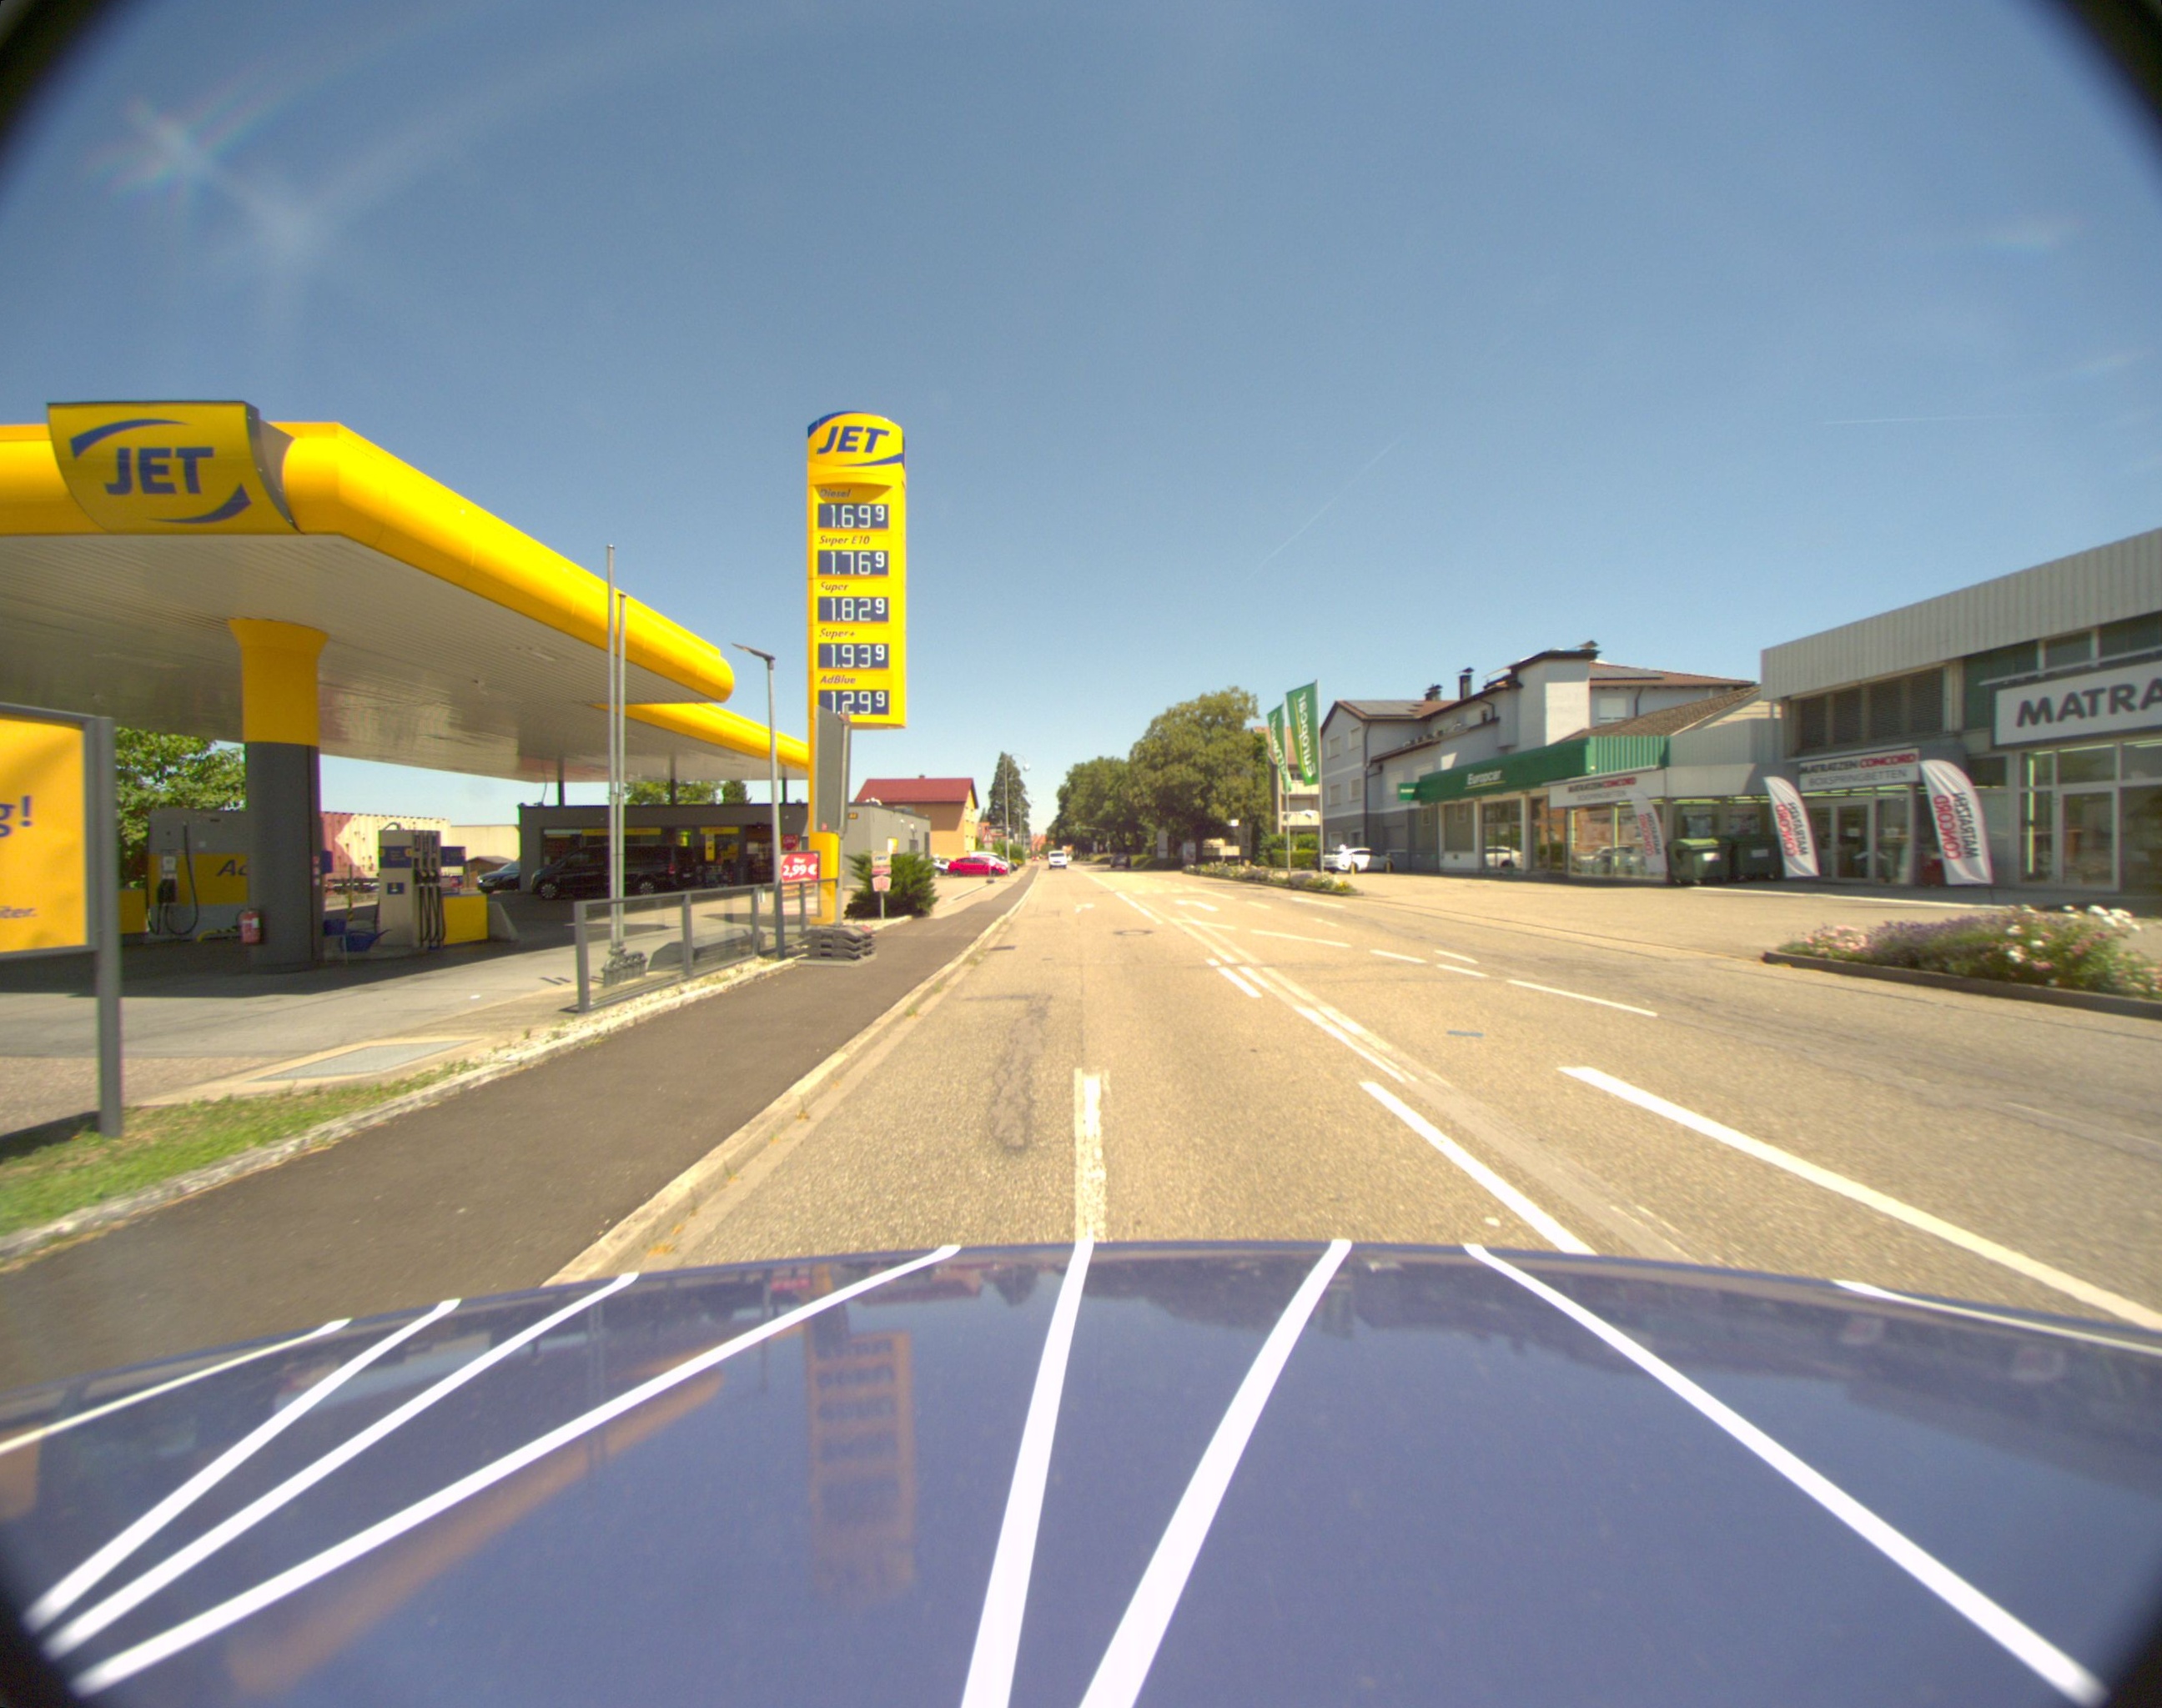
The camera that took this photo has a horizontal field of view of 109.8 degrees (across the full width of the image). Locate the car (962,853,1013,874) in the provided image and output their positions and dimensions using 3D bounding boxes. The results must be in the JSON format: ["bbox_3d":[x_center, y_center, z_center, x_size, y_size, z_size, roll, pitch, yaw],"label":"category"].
[{"bbox_3d":[-7.031,0.712,57.409,3.695,1.557,1.707,0,0,-5],"label":"car"}]

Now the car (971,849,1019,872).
[{"bbox_3d":[-7.726,0.552,68.401,4.147,1.927,1.807,-1,0,-8],"label":"car"}]

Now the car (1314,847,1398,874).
[{"bbox_3d":[15.814,0.356,43.675,4.360,1.430,1.936,-2,1,-24],"label":"car"}]

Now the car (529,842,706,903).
[{"bbox_3d":[-16.580,0.636,27.364,5.063,1.964,2.000,-1,1,0],"label":"car"}]

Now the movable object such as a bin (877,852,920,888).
[{"bbox_3d":[-7.558,0.650,31.591,1.438,1.429,1.467,0,0,-1],"label":"movable object such as a bin"}]

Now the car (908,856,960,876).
[{"bbox_3d":[-11.938,0.967,61.909,3.905,1.367,1.641,-4,1,-7],"label":"car"}]

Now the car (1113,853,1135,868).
[{"bbox_3d":[4.363,0.661,77.784,1.767,1.518,4.136,-1,0,-2],"label":"car"}]

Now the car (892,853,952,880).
[{"bbox_3d":[-11.815,0.935,56.699,4.050,1.658,1.782,-4,1,-3],"label":"car"}]

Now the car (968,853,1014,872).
[{"bbox_3d":[-7.321,0.696,61.971,3.695,1.557,1.641,0,0,-4],"label":"car"}]

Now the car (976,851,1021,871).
[{"bbox_3d":[-7.163,0.601,66.331,3.887,1.671,1.762,0,0,-5],"label":"car"}]

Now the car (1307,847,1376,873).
[{"bbox_3d":[16.280,0.358,47.564,3.570,1.556,1.969,-2,1,-2],"label":"car"}]

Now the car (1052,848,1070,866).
[{"bbox_3d":[-2.201,0.279,84.007,1.797,1.904,3.639,-2,1,-4],"label":"car"}]

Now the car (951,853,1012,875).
[{"bbox_3d":[-7.173,0.683,54.932,4.236,1.525,1.958,0,0,-3],"label":"car"}]
